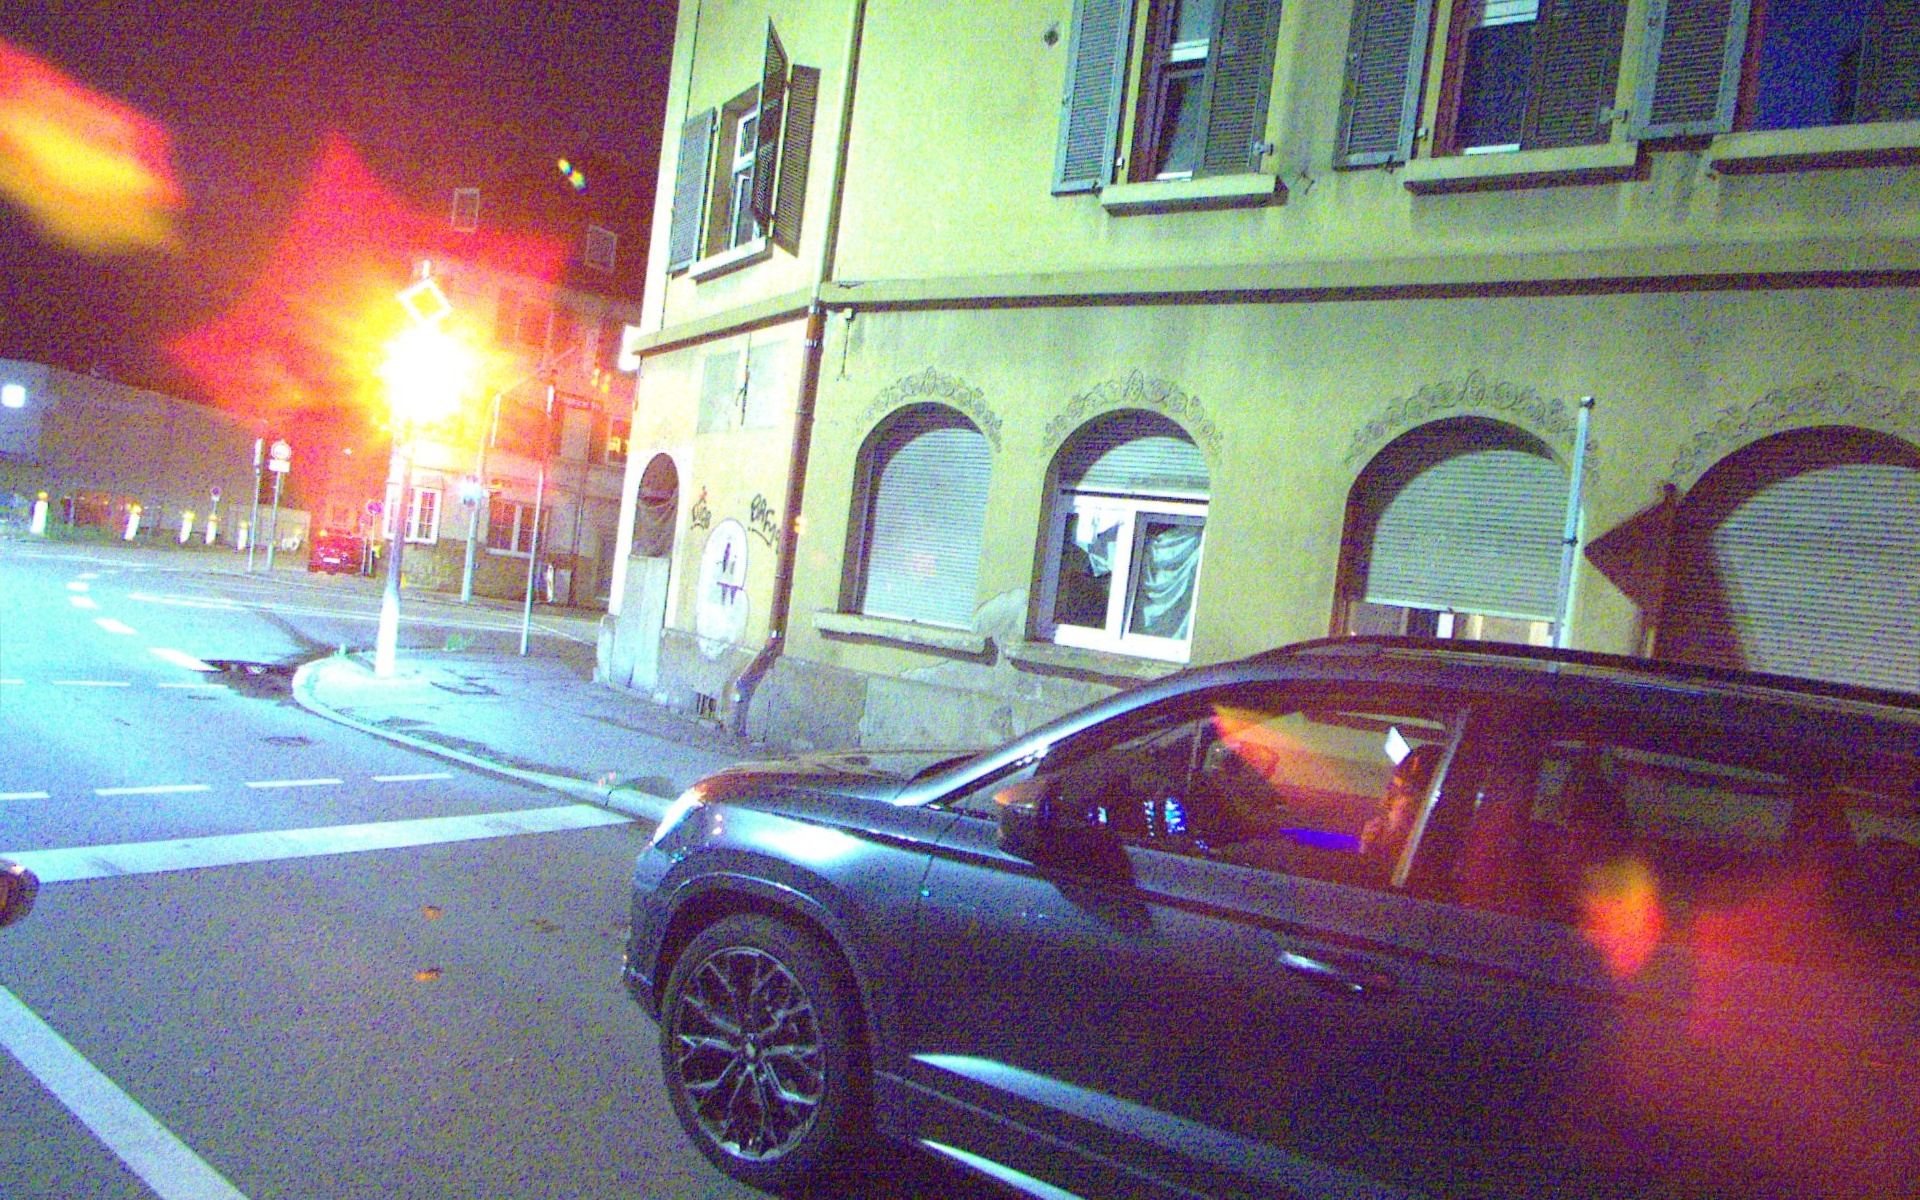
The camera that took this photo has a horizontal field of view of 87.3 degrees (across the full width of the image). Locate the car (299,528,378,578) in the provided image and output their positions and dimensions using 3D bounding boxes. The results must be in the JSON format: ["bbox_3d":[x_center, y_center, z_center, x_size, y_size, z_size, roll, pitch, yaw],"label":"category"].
[{"bbox_3d":[-24.458,-1.811,39.717,1.708,1.631,3.610,7,-1,-19],"label":"car"}]

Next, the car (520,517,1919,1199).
[{"bbox_3d":[1.023,0.819,2.624,4.157,1.629,1.674,6,-1,29],"label":"car"}]
